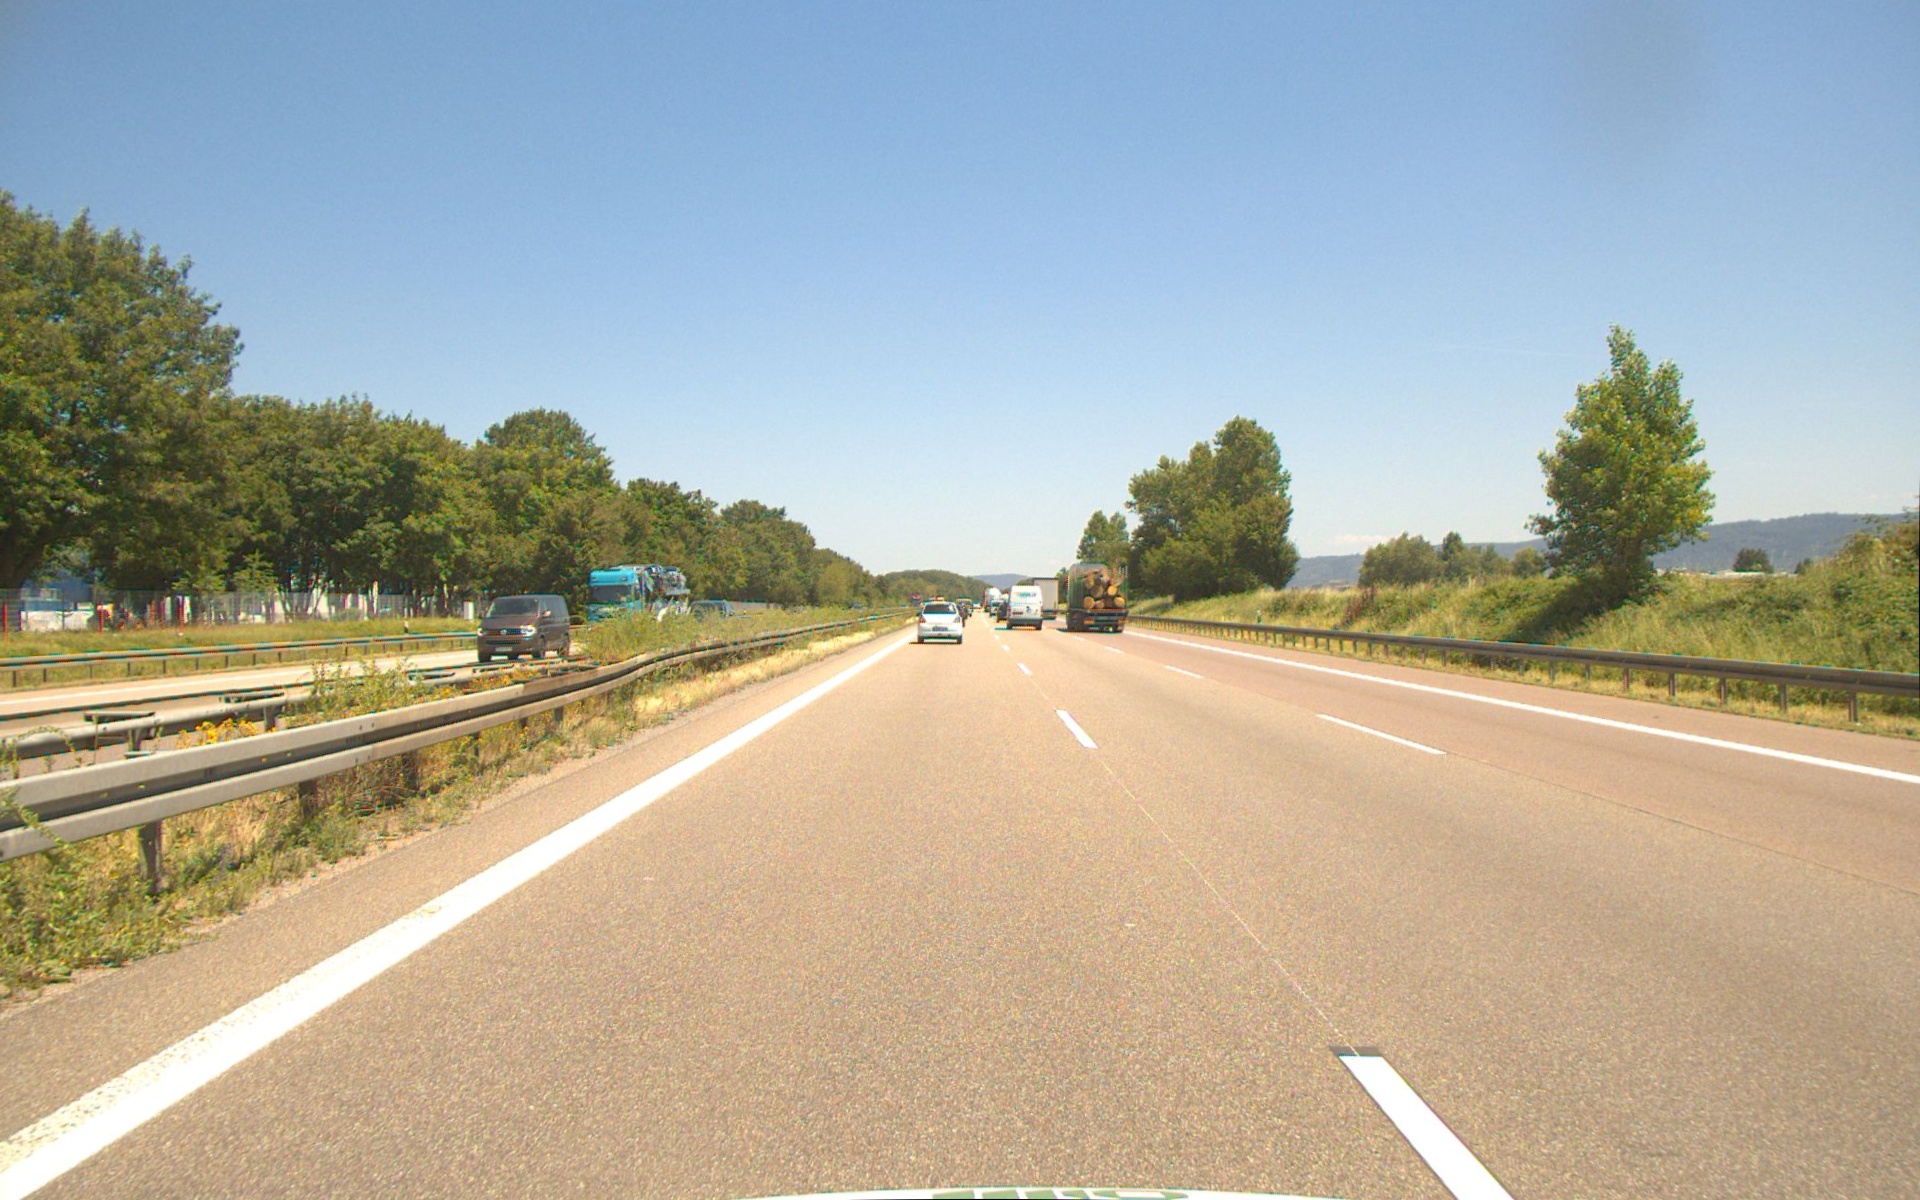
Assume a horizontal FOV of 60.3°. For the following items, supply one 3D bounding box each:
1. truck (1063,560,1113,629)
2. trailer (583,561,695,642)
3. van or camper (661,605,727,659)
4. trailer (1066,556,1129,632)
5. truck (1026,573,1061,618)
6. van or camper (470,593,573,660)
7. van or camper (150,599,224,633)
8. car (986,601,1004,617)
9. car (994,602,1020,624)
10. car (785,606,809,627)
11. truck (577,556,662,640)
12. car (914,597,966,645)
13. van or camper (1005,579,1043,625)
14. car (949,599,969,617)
[{"bbox_3d":[7.857,-0.317,102.153,2.615,4.064,6.636,1,0,1],"label":"truck"},{"bbox_3d":[-17.886,0.093,93.735,2.820,4.047,17.472,-3,0,0],"label":"trailer"},{"bbox_3d":[-9.372,1.095,58.525,1.676,1.800,3.999,1,0,-1],"label":"van or camper"},{"bbox_3d":[7.774,-0.308,95.031,2.598,4.028,13.637,1,0,1],"label":"trailer"},{"bbox_3d":[8.548,-0.403,170.387,3.015,4.282,16.845,1,0,1],"label":"truck"},{"bbox_3d":[-13.369,0.787,50.697,1.953,1.902,4.455,-2,0,-1],"label":"van or camper"},{"bbox_3d":[-61.620,1.238,132.002,2.309,2.597,7.723,-1,0,-1],"label":"van or camper"},{"bbox_3d":[3.838,0.953,180.337,1.819,1.681,3.999,1,0,-1],"label":"car"},{"bbox_3d":[3.718,1.014,131.212,1.819,1.681,3.999,1,0,-1],"label":"car"},{"bbox_3d":[-16.437,1.648,166.906,1.953,2.049,4.272,1,0,0],"label":"car"},{"bbox_3d":[-17.855,-0.094,87.159,2.820,4.044,7.371,-3,0,0],"label":"truck"},{"bbox_3d":[-0.753,0.759,61.899,1.819,1.681,3.999,1,0,-1],"label":"car"},{"bbox_3d":[3.747,0.124,97.613,2.016,2.668,5.985,0,0,1],"label":"van or camper"},{"bbox_3d":[-0.127,0.732,155.289,1.819,1.681,3.999,1,0,-1],"label":"car"}]
